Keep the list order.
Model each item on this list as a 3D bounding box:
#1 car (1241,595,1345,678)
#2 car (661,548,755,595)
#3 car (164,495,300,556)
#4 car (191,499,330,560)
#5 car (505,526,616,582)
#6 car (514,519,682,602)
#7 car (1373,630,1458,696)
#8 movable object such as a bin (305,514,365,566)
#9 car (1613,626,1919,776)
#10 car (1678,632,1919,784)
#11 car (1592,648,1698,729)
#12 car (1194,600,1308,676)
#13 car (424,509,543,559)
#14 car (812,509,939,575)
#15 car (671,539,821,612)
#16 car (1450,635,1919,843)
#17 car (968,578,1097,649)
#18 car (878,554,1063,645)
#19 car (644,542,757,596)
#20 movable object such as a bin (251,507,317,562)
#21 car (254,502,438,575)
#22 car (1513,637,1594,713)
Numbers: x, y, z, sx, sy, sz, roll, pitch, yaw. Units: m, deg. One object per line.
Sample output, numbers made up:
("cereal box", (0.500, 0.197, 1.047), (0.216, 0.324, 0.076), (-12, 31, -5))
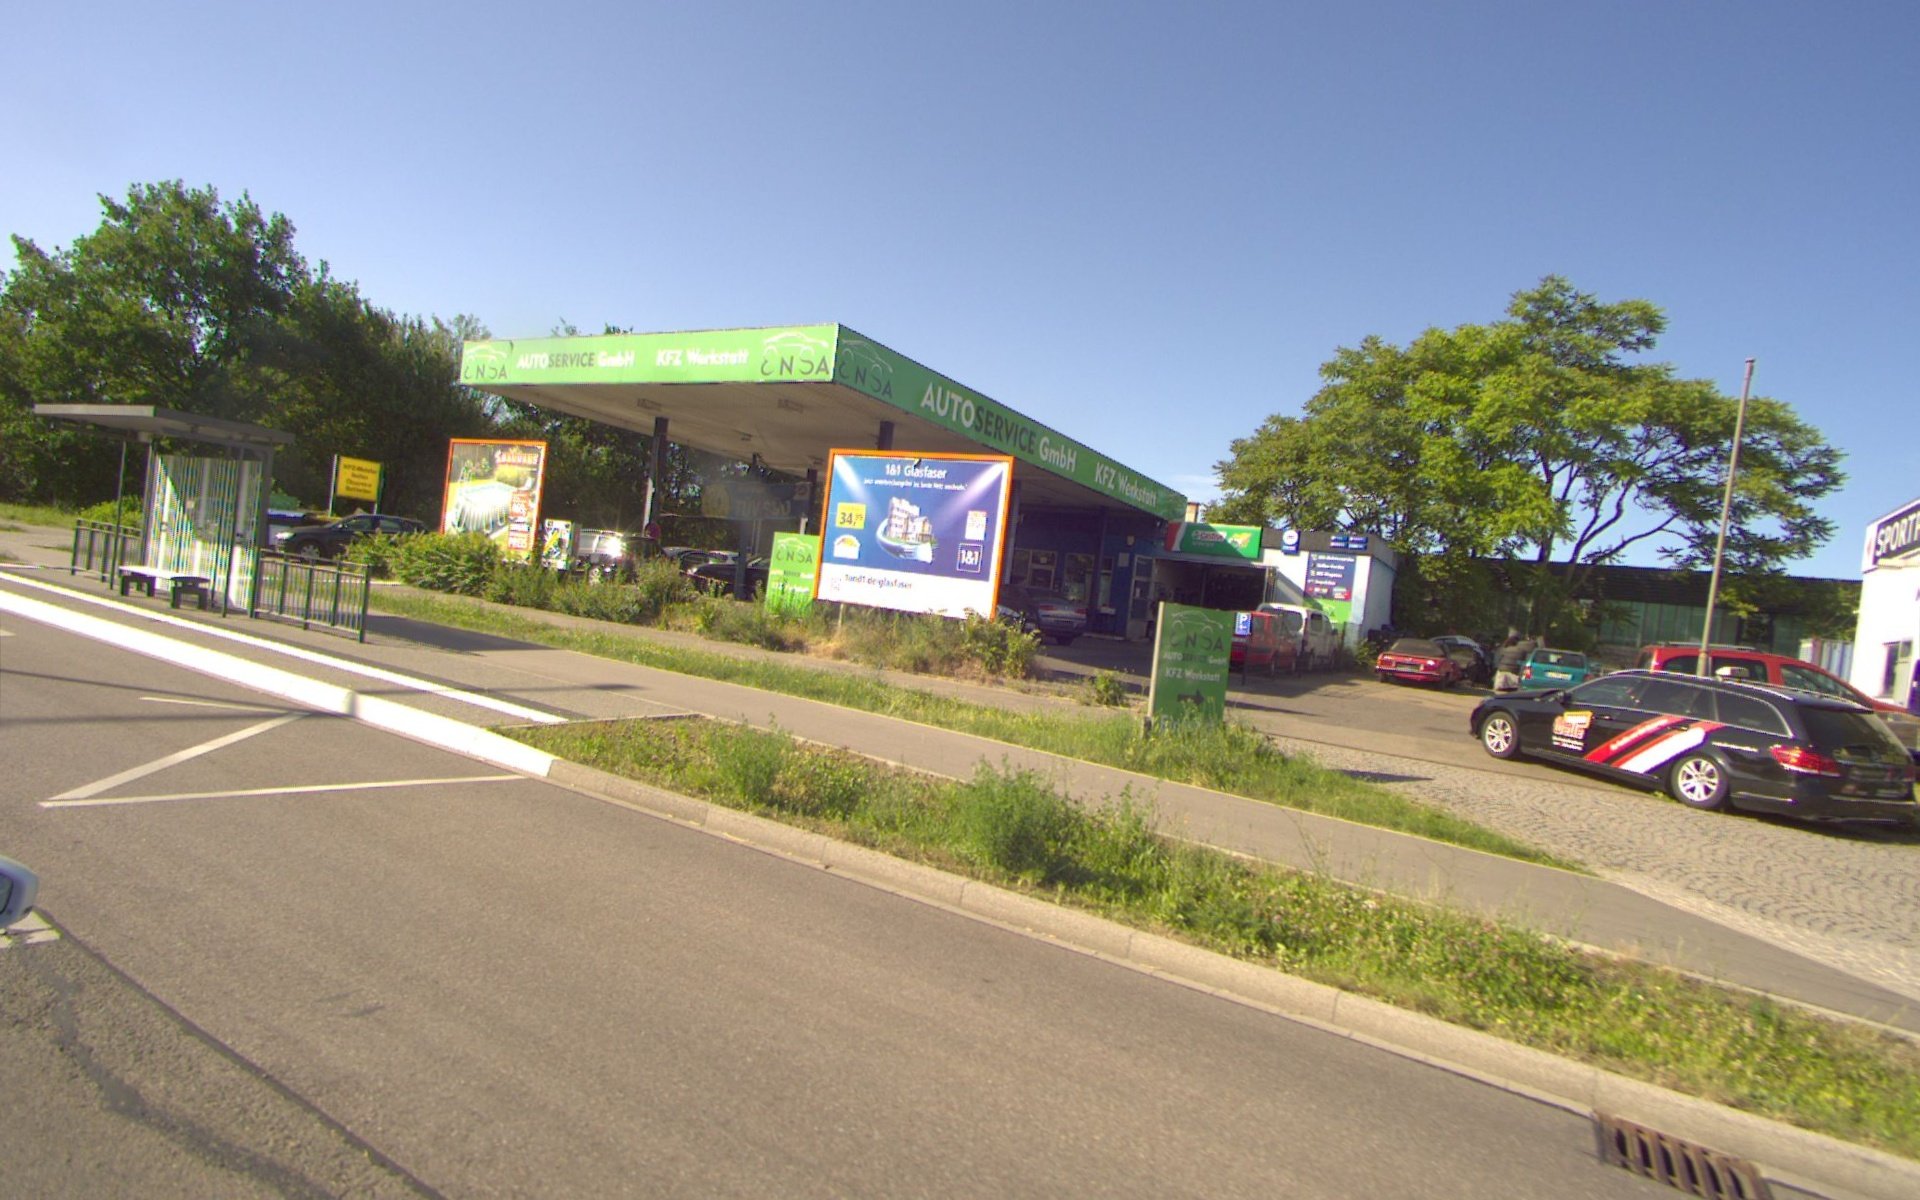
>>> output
("car", (9.677, 1.100, 29.044), (1.892, 1.929, 3.698), (7, -2, 31))
("car", (-10.477, -1.202, 41.767), (3.643, 1.481, 1.611), (7, -2, 32))
("car", (-25.029, -2.532, 34.679), (1.743, 1.503, 3.289), (7, -2, 33))
("car", (-23.285, -2.311, 33.571), (1.700, 1.433, 3.289), (7, -2, 33))
("car", (-15.225, -1.755, 38.260), (4.067, 1.626, 1.716), (7, -1, 32))
("car", (-9.284, -1.020, 25.710), (4.179, 1.592, 1.746), (7, 0, 33))
("car", (12.548, 1.661, 27.628), (1.638, 1.395, 3.761), (4, 4, 31))
("movable object such as a bin", (-19.588, -1.874, 31.551), (1.204, 1.446, 0.986), (7, 1, -11))
("car", (13.663, 1.600, 16.973), (4.145, 1.887, 1.893), (6, 3, 29))
("car", (13.512, 1.632, 14.762), (4.518, 1.807, 1.683), (6, 3, 29))
("car", (18.059, 2.271, 26.708), (1.961, 1.542, 4.199), (4, 4, 31))
("car", (7.398, 0.875, 25.361), (1.818, 1.570, 3.761), (4, 4, 31))
("car", (-19.344, -2.652, 40.977), (1.706, 1.551, 4.037), (7, 2, 33))
("car", (-2.849, -1.955, 33.872), (3.716, 1.777, 1.920), (6, 1, 33))
("car", (-6.162, -0.679, 29.380), (3.930, 1.503, 1.999), (8, -1, -5))
("car", (8.566, 1.490, 12.256), (1.870, 1.551, 4.817), (5, 2, -15))
("car", (1.813, 0.311, 26.257), (1.672, 1.438, 3.681), (8, 0, -24))
("car", (0.238, -0.013, 24.691), (3.934, 1.666, 1.997), (7, -2, 32))
("car", (-9.481, -1.119, 37.103), (1.705, 1.536, 3.994), (6, 0, 27))
("movable object such as a bin", (-20.705, -1.993, 30.845), (1.240, 1.446, 0.987), (8, 0, -11))
("car", (-18.220, -1.806, 30.117), (4.506, 1.662, 1.787), (5, 2, -29))
("car", (15.760, 1.904, 26.733), (1.638, 1.620, 4.202), (4, 2, 31))
